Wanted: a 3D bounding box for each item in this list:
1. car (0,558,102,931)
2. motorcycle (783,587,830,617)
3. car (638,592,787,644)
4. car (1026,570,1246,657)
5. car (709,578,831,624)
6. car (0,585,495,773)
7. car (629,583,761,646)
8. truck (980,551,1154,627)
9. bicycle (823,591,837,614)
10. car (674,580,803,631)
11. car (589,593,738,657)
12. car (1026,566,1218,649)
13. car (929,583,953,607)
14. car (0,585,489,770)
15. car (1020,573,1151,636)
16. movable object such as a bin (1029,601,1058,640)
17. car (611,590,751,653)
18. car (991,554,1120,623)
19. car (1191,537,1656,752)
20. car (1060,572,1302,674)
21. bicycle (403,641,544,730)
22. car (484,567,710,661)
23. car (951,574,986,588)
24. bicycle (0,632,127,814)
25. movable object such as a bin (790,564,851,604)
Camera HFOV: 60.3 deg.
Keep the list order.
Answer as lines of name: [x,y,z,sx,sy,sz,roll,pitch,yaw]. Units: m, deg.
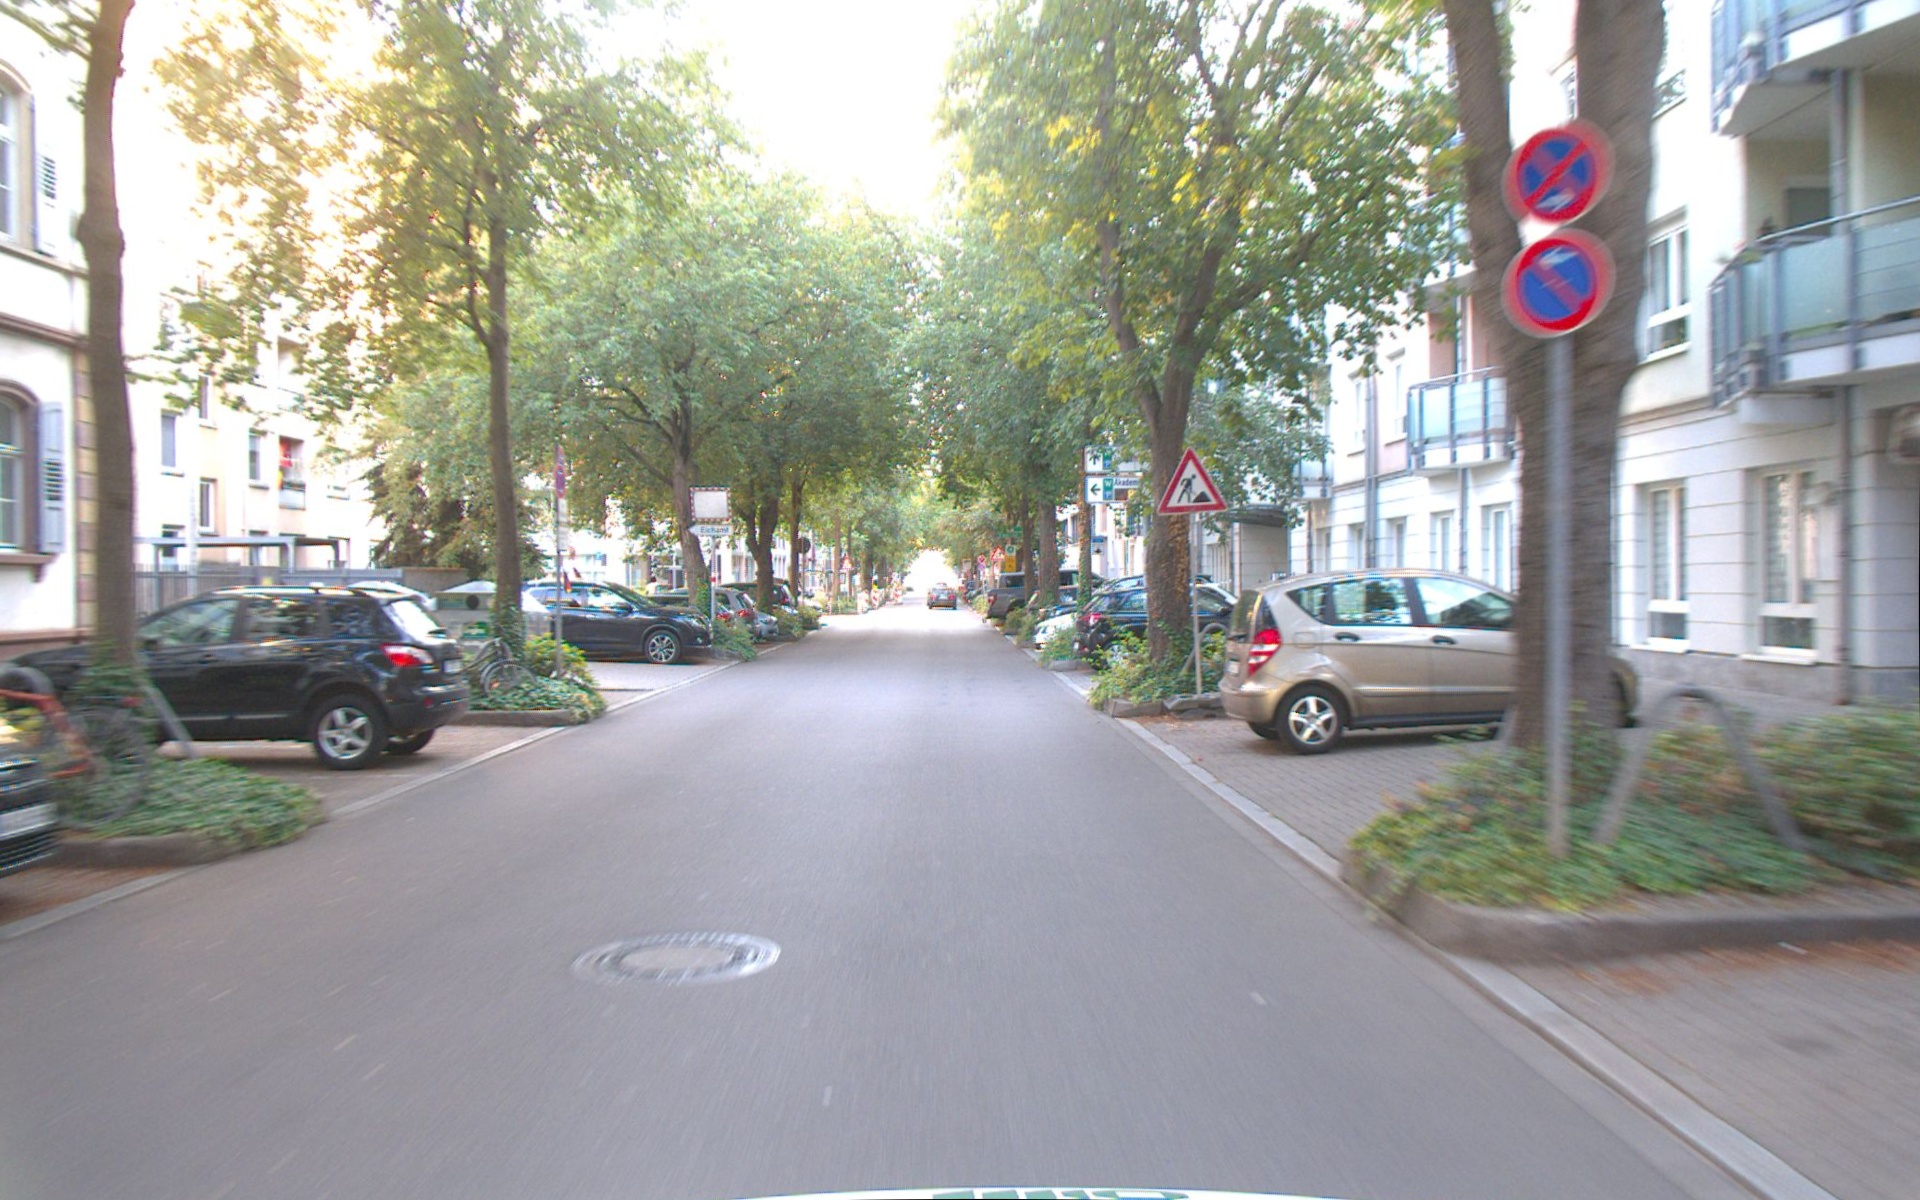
car: [-6.649,0.709,7.631,4.446,1.712,1.620,-1,0,-5]
motorcycle: [-7.729,0.073,83.165,2.358,1.466,0.790,-1,0,-41]
car: [-6.981,0.493,47.035,4.018,1.403,1.746,1,0,-3]
car: [3.769,0.277,35.887,4.481,1.579,1.772,-4,0,-2]
car: [-7.231,0.035,63.382,4.406,1.609,2.055,1,0,0]
car: [-6.552,0.679,15.464,3.907,1.616,1.827,0,0,-3]
car: [-7.158,0.387,44.873,3.337,1.637,1.760,-1,0,-3]
truck: [3.769,-0.386,58.972,5.884,2.169,2.260,-5,0,-1]
bicycle: [-6.805,0.134,86.354,0.589,1.137,1.799,-1,0,-1]
car: [-7.761,0.184,58.301,4.308,1.714,2.063,1,0,-3]
car: [-7.091,0.588,39.768,3.337,1.467,1.593,-1,0,-3]
car: [3.965,0.177,40.832,4.303,1.733,1.891,-4,0,-9]
car: [-1.209,-0.322,105.869,1.470,1.441,3.713,-1,1,-1]
car: [-6.606,0.671,15.444,3.906,1.619,1.788,0,0,-2]
car: [3.710,0.156,49.276,3.592,1.575,1.779,-4,-1,-3]
movable object such as a bin: [2.345,0.565,46.282,0.759,1.086,0.589,-1,0,-2]
car: [-7.122,0.531,42.417,3.337,1.533,1.663,-1,0,-3]
car: [3.523,-0.440,61.515,4.527,2.170,2.036,-4,0,-1]
car: [4.260,0.383,15.653,3.784,1.696,1.925,-3,0,-1]
car: [3.906,0.384,29.626,3.910,1.500,1.911,-4,1,-5]
bicycle: [-5.749,0.999,19.558,1.536,0.953,0.481,-1,0,-25]
car: [-7.553,0.273,34.760,4.329,1.925,1.999,0,0,-2]
car: [0.942,-2.159,189.488,3.908,1.625,1.998,0,0,-4]
bicycle: [-6.053,0.738,9.878,1.863,1.043,0.479,-1,0,-3]
movable object such as a bin: [-8.500,-0.971,101.230,3.592,2.373,2.582,-1,0,-3]
